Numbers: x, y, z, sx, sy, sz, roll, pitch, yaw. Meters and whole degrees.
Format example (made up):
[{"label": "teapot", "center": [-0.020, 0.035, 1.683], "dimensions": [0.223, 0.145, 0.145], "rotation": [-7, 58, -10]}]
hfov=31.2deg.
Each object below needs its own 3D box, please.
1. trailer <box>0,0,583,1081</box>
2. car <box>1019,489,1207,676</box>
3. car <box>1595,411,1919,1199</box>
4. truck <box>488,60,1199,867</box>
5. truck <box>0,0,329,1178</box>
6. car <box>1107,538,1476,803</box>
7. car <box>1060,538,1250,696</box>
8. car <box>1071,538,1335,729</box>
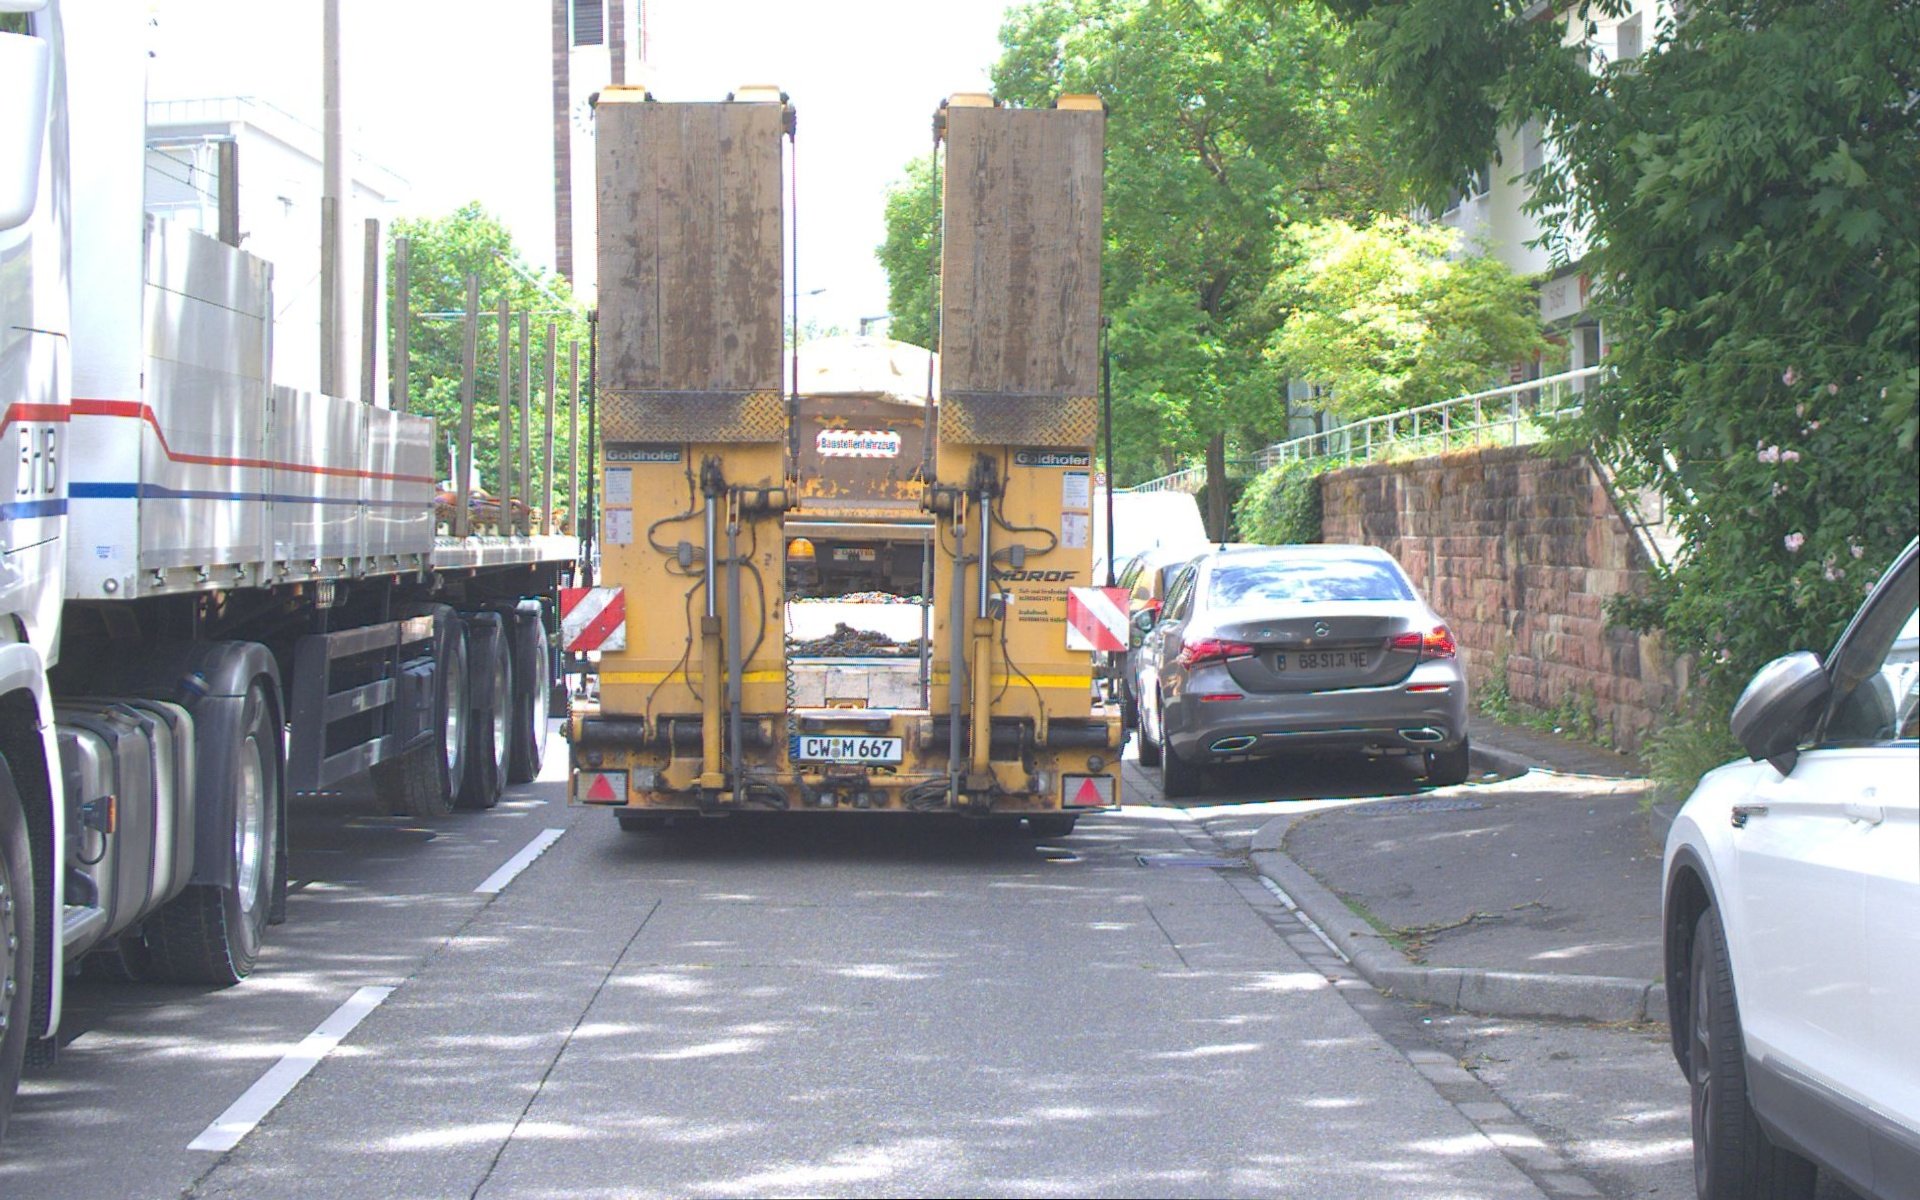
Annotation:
[{"label": "trailer", "center": [-3.721, -0.699, 15.980], "dimensions": [2.698, 3.568, 13.676], "rotation": [1, 2, -1]}, {"label": "car", "center": [1.685, -0.253, 39.123], "dimensions": [1.799, 1.961, 4.590], "rotation": [-1, 2, -1]}, {"label": "car", "center": [2.412, 0.514, 5.902], "dimensions": [1.824, 1.676, 4.576], "rotation": [-1, 2, 1]}, {"label": "truck", "center": [-0.686, -0.772, 21.411], "dimensions": [3.124, 3.552, 12.461], "rotation": [0, 2, -2]}, {"label": "truck", "center": [-3.556, -0.514, 9.217], "dimensions": [2.698, 3.568, 6.145], "rotation": [1, 1, -1]}, {"label": "car", "center": [1.946, 0.353, 21.415], "dimensions": [1.836, 1.400, 4.414], "rotation": [-1, 2, 0]}, {"label": "car", "center": [1.863, 0.124, 33.715], "dimensions": [1.621, 1.400, 3.650], "rotation": [-1, 2, 0]}, {"label": "car", "center": [1.944, 0.218, 28.531], "dimensions": [1.690, 1.400, 4.069], "rotation": [-1, 2, -3]}]
